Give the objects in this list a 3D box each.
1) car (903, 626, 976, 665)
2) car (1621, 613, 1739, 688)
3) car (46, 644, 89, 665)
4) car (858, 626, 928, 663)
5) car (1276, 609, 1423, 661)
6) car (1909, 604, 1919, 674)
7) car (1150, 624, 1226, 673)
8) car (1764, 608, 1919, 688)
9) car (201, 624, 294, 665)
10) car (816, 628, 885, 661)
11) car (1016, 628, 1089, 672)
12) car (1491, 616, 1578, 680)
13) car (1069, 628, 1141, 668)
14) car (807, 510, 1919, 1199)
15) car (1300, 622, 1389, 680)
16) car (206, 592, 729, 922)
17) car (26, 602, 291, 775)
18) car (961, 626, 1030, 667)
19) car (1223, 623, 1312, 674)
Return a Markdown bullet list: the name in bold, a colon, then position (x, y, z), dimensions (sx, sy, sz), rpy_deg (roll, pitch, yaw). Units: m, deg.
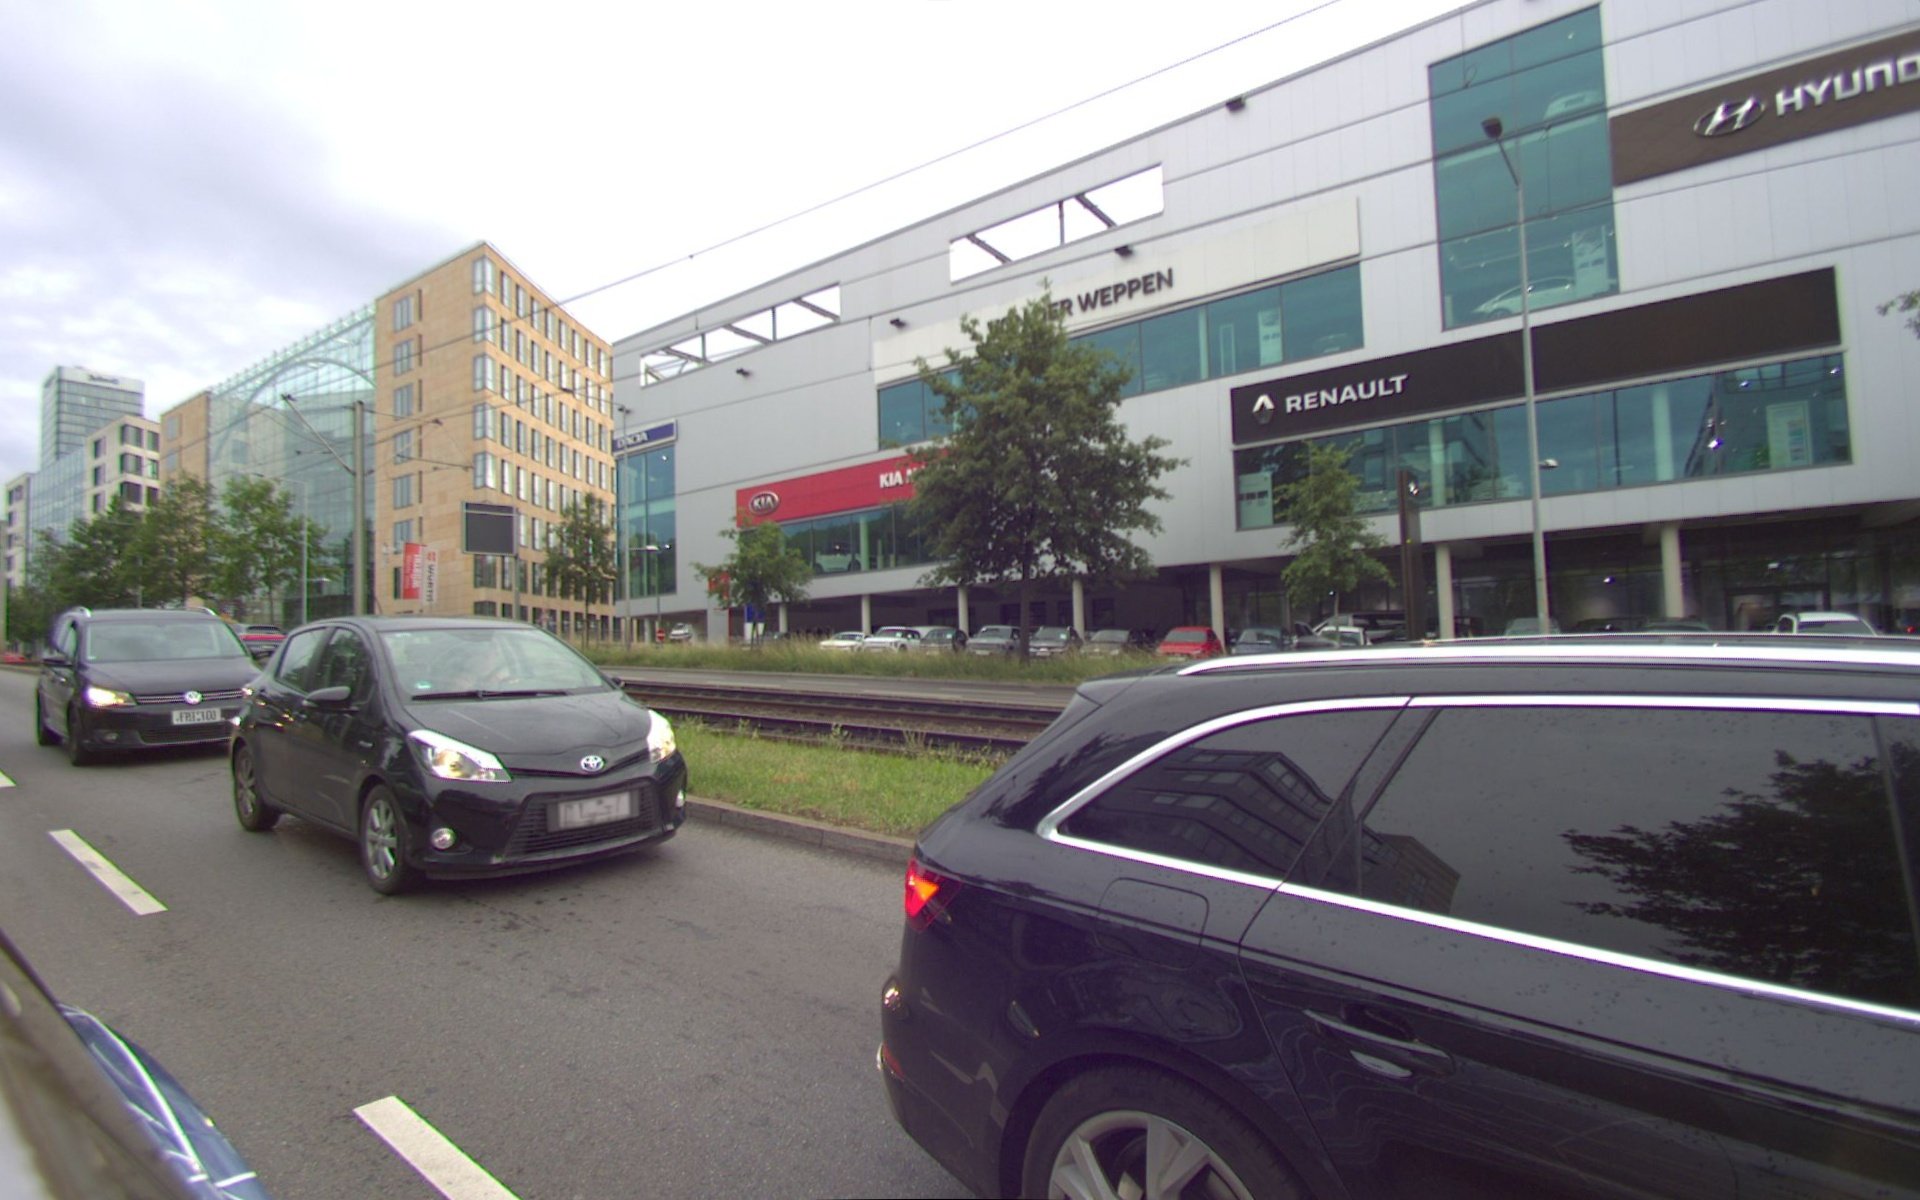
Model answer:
- **car**: position (-0.775, 1.818, 41.035), dimensions (1.688, 1.362, 3.499), rpy_deg (-2, 1, 23)
- **car**: position (18.069, 1.199, 25.588), dimensions (1.992, 1.562, 4.331), rpy_deg (-1, 1, 30)
- **car**: position (-65.862, 4.024, 74.671), dimensions (4.096, 1.524, 1.569), rpy_deg (-2, -4, 38)
- **car**: position (-2.782, 1.874, 42.966), dimensions (1.685, 1.304, 3.643), rpy_deg (-2, 1, 18)
- **car**: position (13.969, 1.257, 36.501), dimensions (4.488, 1.796, 1.997), rpy_deg (-1, -1, 5)
- **car**: position (22.845, 0.952, 22.191), dimensions (1.992, 1.627, 4.331), rpy_deg (-1, 1, 30)
- **car**: position (7.825, 1.619, 34.449), dimensions (1.789, 1.362, 3.903), rpy_deg (-2, 1, 24)
- **car**: position (20.607, 1.052, 23.812), dimensions (1.992, 1.562, 4.331), rpy_deg (-1, 1, 30)
- **car**: position (-32.344, 2.014, 45.903), dimensions (4.832, 1.733, 1.975), rpy_deg (-1, -4, 37)
- **car**: position (-4.773, 1.944, 44.642), dimensions (1.685, 1.196, 3.643), rpy_deg (-2, 1, 18)
- **car**: position (3.510, 1.842, 37.787), dimensions (1.688, 1.362, 3.498), rpy_deg (-2, 1, 24)
- **car**: position (15.869, 1.275, 27.974), dimensions (1.925, 1.470, 3.981), rpy_deg (-1, 1, 30)
- **car**: position (5.258, 1.690, 36.326), dimensions (1.688, 1.190, 3.498), rpy_deg (-2, 1, 24)
- **car**: position (1.926, 0.637, 1.486), dimensions (4.511, 1.478, 1.762), rpy_deg (-2, -2, 41)
- **car**: position (11.962, 1.519, 31.349), dimensions (1.914, 1.470, 4.005), rpy_deg (-1, 1, 30)
- **car**: position (-3.380, 0.779, 6.643), dimensions (3.823, 1.544, 1.683), rpy_deg (-1, -1, 40)
- **car**: position (-9.406, 0.881, 11.738), dimensions (4.317, 1.619, 1.762), rpy_deg (-2, 0, 43)
- **car**: position (1.435, 1.796, 39.699), dimensions (1.686, 1.362, 3.503), rpy_deg (-2, 1, 20)
- **car**: position (10.088, 1.544, 33.045), dimensions (1.914, 1.362, 4.005), rpy_deg (-1, 1, 30)
